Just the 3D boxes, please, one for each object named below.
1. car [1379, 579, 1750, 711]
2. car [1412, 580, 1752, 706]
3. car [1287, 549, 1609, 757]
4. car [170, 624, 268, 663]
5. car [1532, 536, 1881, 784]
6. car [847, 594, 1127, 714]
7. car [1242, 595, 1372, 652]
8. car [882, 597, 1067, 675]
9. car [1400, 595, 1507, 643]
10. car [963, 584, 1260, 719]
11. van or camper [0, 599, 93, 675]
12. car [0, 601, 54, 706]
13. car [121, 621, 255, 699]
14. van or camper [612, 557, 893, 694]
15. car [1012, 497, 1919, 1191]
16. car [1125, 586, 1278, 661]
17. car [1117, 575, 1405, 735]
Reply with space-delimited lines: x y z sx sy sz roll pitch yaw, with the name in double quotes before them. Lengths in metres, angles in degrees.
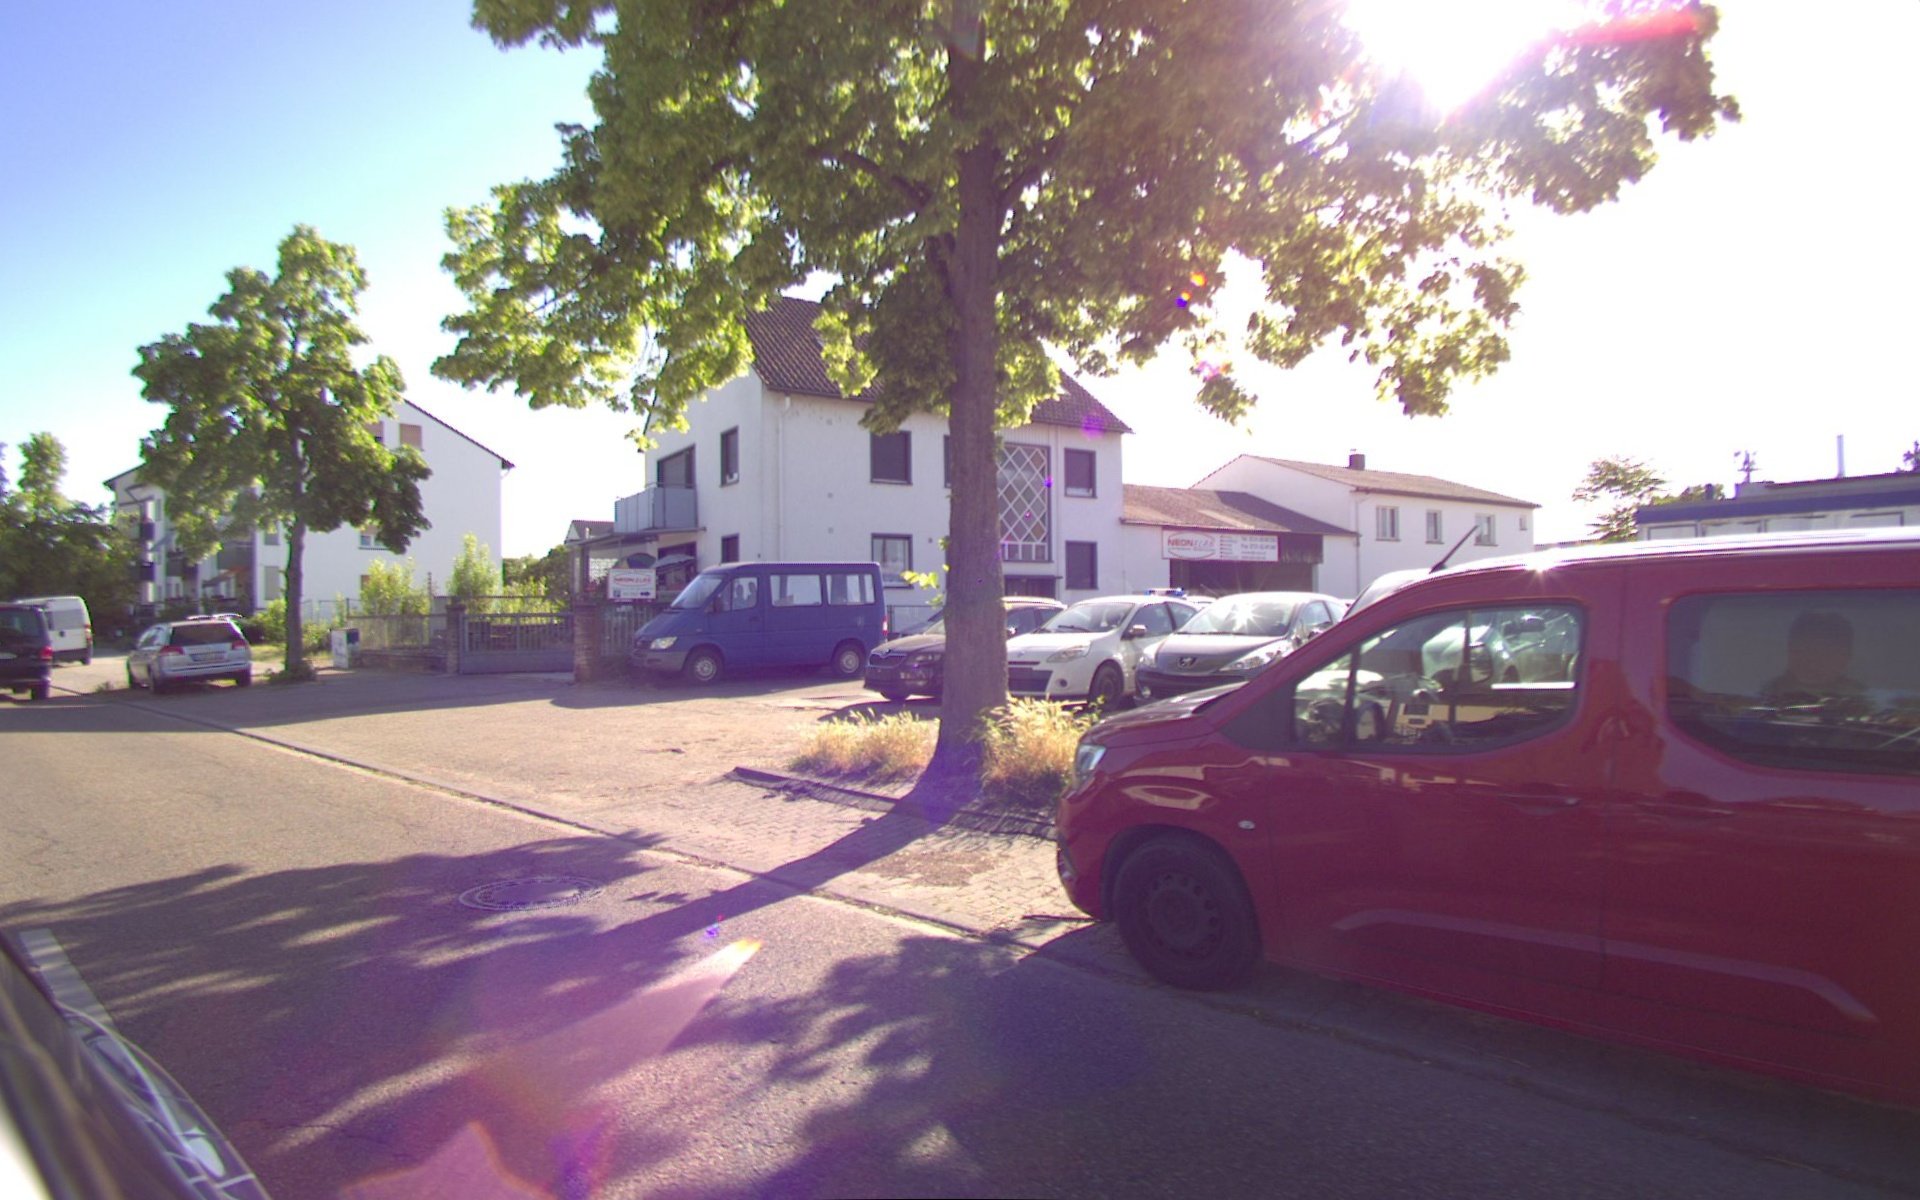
"car" 8.029 0.558 13.735 1.644 1.528 4.005 0 -1 -42
"car" 9.125 0.595 15.109 1.644 1.631 4.005 0 -1 -42
"car" 5.294 0.475 10.704 1.767 1.766 4.200 -2 -1 45
"car" -32.337 1.860 44.298 1.589 1.525 4.396 -1 -1 -8
"car" 6.912 0.442 9.195 4.198 1.742 1.768 0 -1 -43
"car" 0.513 0.719 15.399 4.198 1.553 1.768 -1 -1 -43
"car" 10.109 0.654 29.379 3.988 1.556 1.506 0 -1 -35
"car" 0.365 0.752 22.755 3.929 1.591 1.683 0 0 -35
"car" 16.356 0.597 33.511 3.812 1.487 1.506 0 -1 -35
"car" 2.176 0.639 13.744 4.199 1.553 1.767 0 -3 -44
"van or camper" -33.565 1.367 36.977 5.553 2.508 2.100 -3 0 42
"car" -20.574 1.086 21.175 4.817 2.047 1.874 -2 -3 42
"car" -17.001 1.259 22.207 4.209 1.446 1.668 -2 1 44
"van or camper" -3.964 0.409 19.646 4.827 2.337 2.249 -1 0 -35
"car" 2.459 0.611 3.737 4.341 1.765 1.784 -2 1 42
"car" 6.423 0.578 26.741 3.988 1.849 1.683 0 -1 -35
"car" 3.796 0.549 12.266 1.764 1.597 4.205 -2 -1 40
